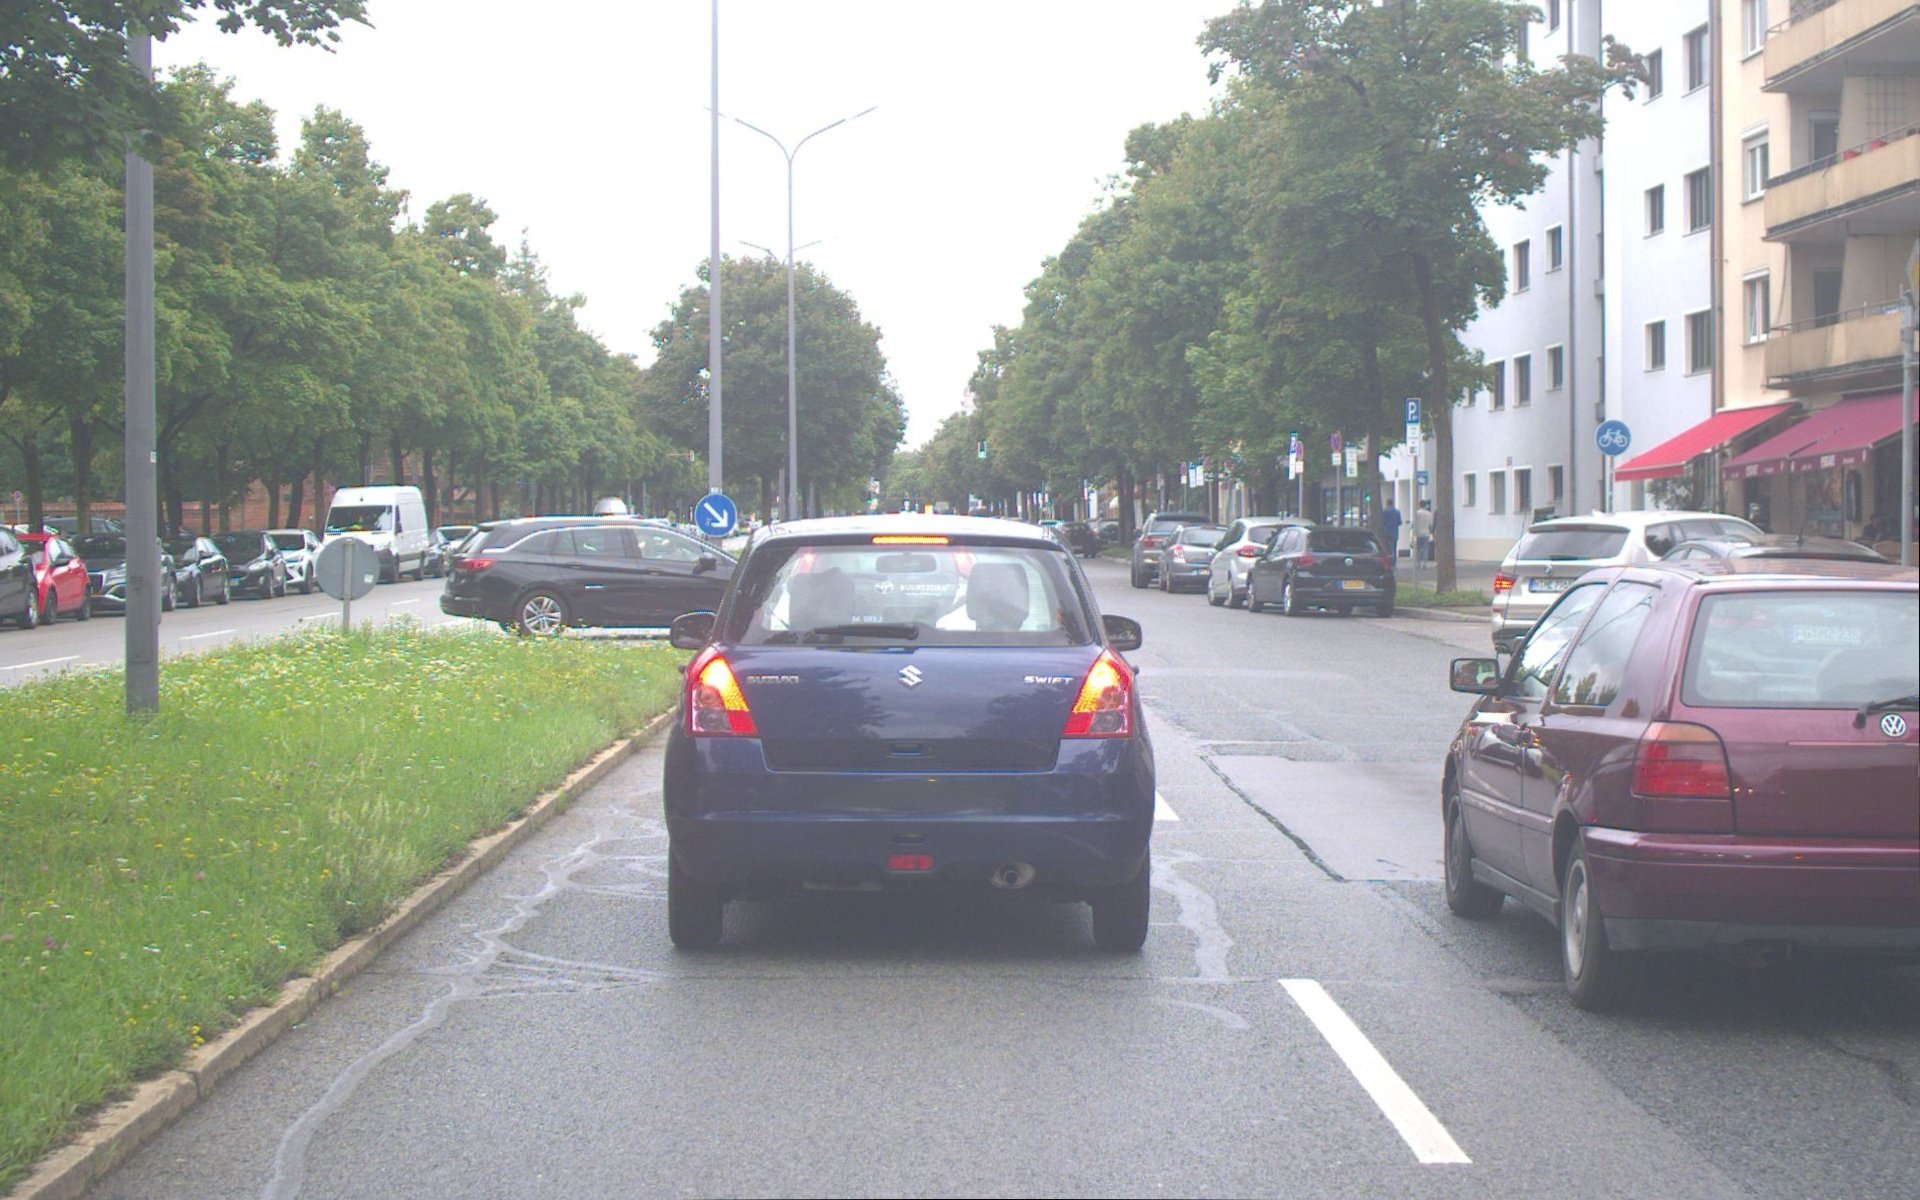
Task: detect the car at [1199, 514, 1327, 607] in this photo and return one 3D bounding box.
[{"bbox_3d":[5.322,-0.727,60.789,1.791,1.553,4.225,-1,2,-1],"label":"car"}]

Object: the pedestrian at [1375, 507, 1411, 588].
[{"bbox_3d":[10.800,-1.321,85.772,0.794,2.007,1.006,0,1,0],"label":"pedestrian"}]

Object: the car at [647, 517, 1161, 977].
[{"bbox_3d":[-0.239,0.438,13.256,1.682,1.496,3.919,0,2,-2],"label":"car"}]

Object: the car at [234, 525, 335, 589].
[{"bbox_3d":[-15.548,-1.014,79.263,1.632,1.426,3.879,1,1,-1],"label":"car"}]

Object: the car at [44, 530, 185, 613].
[{"bbox_3d":[-15.255,-0.544,62.206,1.667,1.440,3.879,1,1,-1],"label":"car"}]

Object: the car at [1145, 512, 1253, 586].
[{"bbox_3d":[5.086,-1.116,73.610,1.865,1.512,4.225,-1,2,-2],"label":"car"}]

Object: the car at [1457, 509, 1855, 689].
[{"bbox_3d":[7.040,-0.041,34.501,1.870,1.655,4.396,3,2,43],"label":"car"}]

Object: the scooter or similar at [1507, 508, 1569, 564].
[{"bbox_3d":[13.804,-1.540,82.214,1.033,1.303,2.755,0,1,0],"label":"scooter or similar"}]

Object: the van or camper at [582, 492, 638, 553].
[{"bbox_3d":[-19.331,-4.264,190.154,2.561,3.284,6.938,1,1,-1],"label":"van or camper"}]

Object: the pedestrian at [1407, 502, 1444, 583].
[{"bbox_3d":[11.613,-1.434,85.721,0.794,2.007,1.006,0,1,0],"label":"pedestrian"}]

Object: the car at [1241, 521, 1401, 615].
[{"bbox_3d":[5.792,-0.549,55.578,1.865,1.412,4.225,-1,2,-4],"label":"car"}]

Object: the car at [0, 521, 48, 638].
[{"bbox_3d":[-15.116,-0.336,51.914,1.716,1.735,3.879,1,1,-1],"label":"car"}]

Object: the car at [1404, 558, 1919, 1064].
[{"bbox_3d":[2.652,0.584,11.724,1.682,1.379,3.919,1,1,-1],"label":"car"}]

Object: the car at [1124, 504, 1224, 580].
[{"bbox_3d":[4.853,-1.345,78.438,1.865,1.677,4.225,-1,2,-2],"label":"car"}]

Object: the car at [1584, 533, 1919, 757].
[{"bbox_3d":[5.739,0.271,25.073,1.617,1.460,3.674,2,1,-1],"label":"car"}]

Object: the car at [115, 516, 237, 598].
[{"bbox_3d":[-15.367,-0.861,67.551,1.590,1.553,3.879,1,1,-1],"label":"car"}]

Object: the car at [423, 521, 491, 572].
[{"bbox_3d":[-15.822,-1.693,108.312,1.632,1.577,3.879,1,1,-1],"label":"car"}]

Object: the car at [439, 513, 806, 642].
[{"bbox_3d":[-4.077,-0.296,41.320,4.120,1.463,1.840,-1,2,-16],"label":"car"}]

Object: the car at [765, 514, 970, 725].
[{"bbox_3d":[-0.700,0.100,25.899,1.444,1.478,3.107,0,2,-2],"label":"car"}]

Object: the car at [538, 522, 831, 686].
[{"bbox_3d":[-2.713,-0.008,33.145,1.682,1.458,3.735,0,2,-24],"label":"car"}]

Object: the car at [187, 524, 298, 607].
[{"bbox_3d":[-15.396,-0.763,73.932,1.632,1.735,3.879,1,1,-1],"label":"car"}]

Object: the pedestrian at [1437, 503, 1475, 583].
[{"bbox_3d":[12.399,-1.429,85.923,0.794,2.007,1.006,0,1,0],"label":"pedestrian"}]

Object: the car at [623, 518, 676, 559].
[{"bbox_3d":[-12.707,-2.532,140.937,1.766,1.618,4.507,-2,1,-1],"label":"car"}]

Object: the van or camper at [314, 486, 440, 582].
[{"bbox_3d":[-15.777,-1.807,93.433,2.117,2.473,7.449,1,1,0],"label":"van or camper"}]

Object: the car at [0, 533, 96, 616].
[{"bbox_3d":[-15.550,-0.446,57.152,1.590,1.307,3.381,1,1,-1],"label":"car"}]
